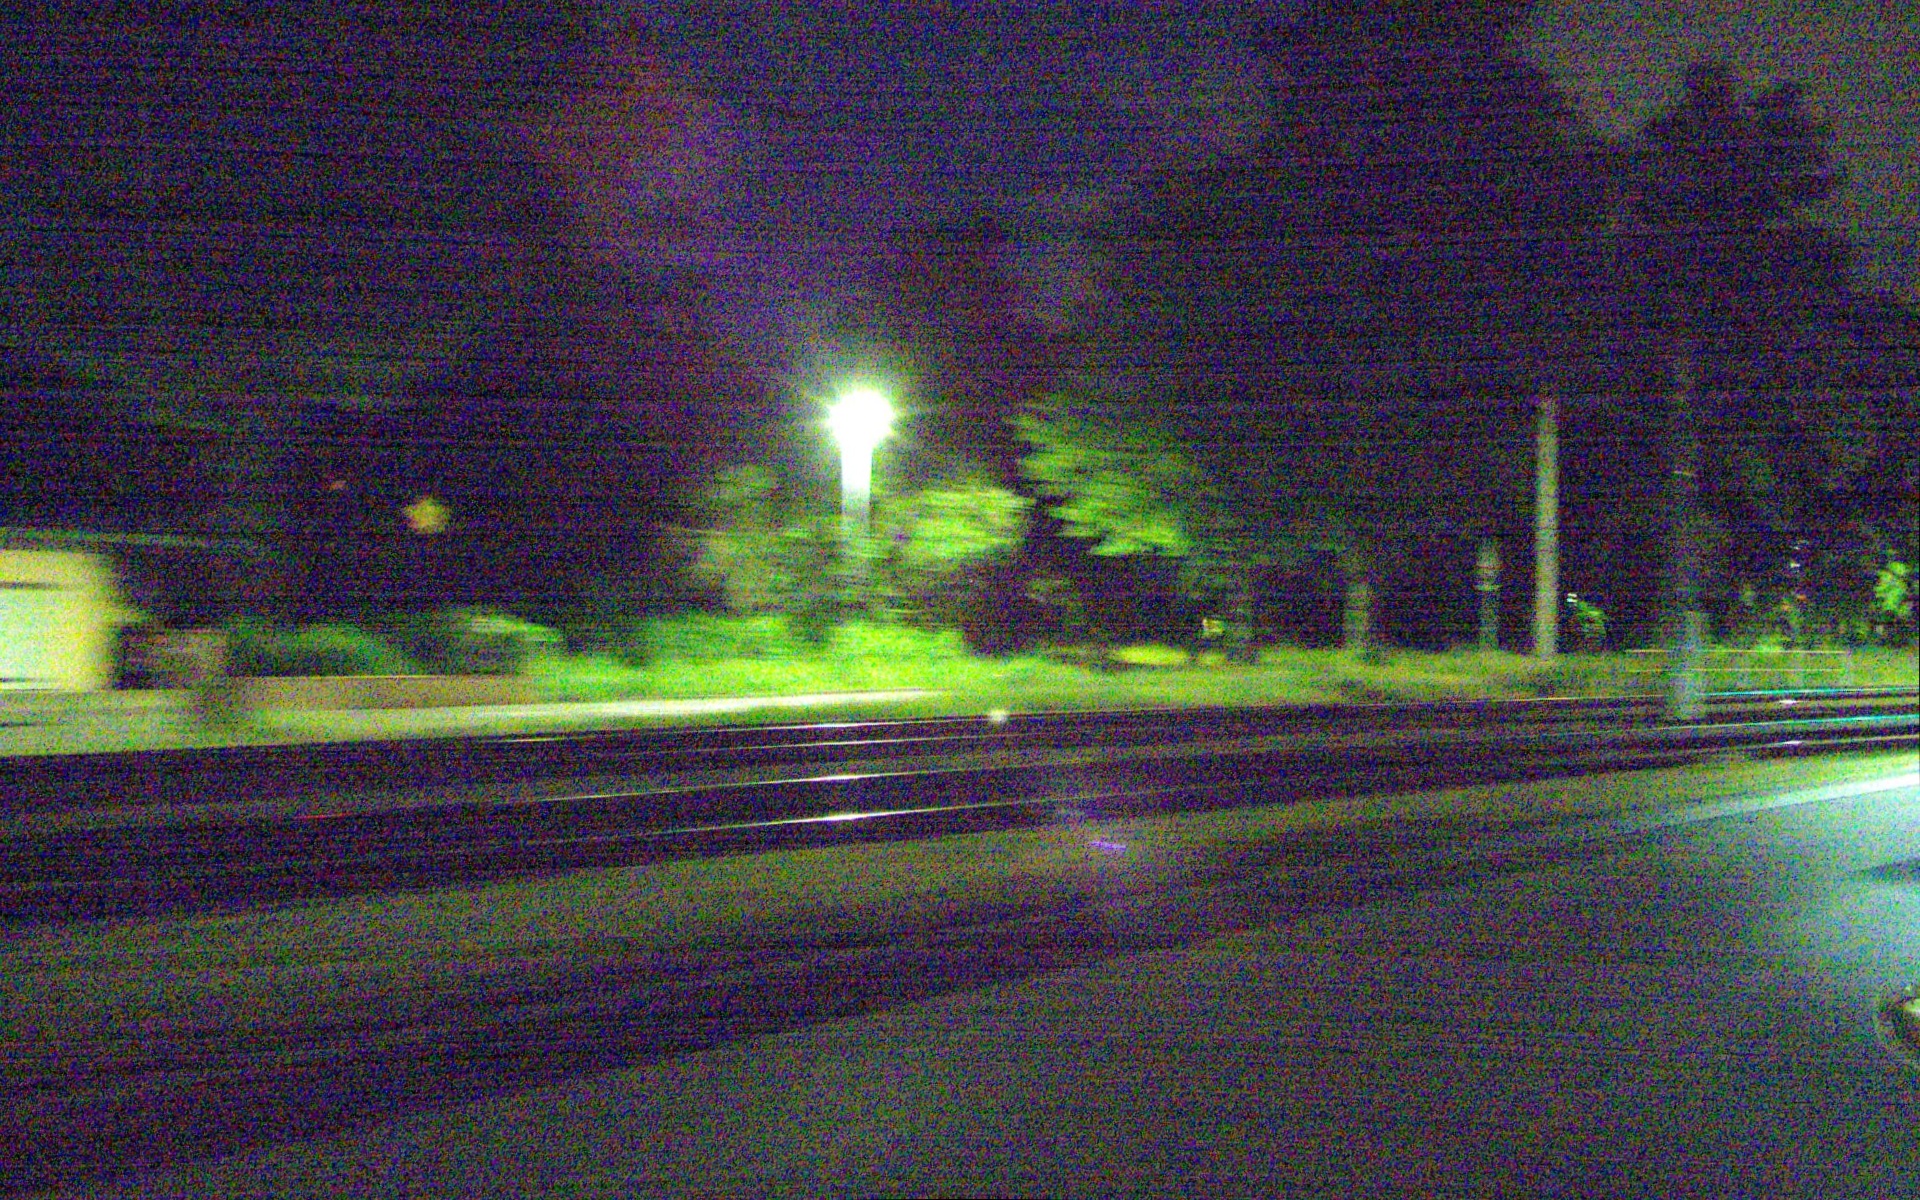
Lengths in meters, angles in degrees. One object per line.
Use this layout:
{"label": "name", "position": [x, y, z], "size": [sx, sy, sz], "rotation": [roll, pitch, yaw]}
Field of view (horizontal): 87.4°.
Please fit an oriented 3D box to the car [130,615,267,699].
{"label": "car", "position": [-16.939, 1.226, 22.539], "size": [1.735, 1.630, 3.971], "rotation": [2, -1, -28]}
